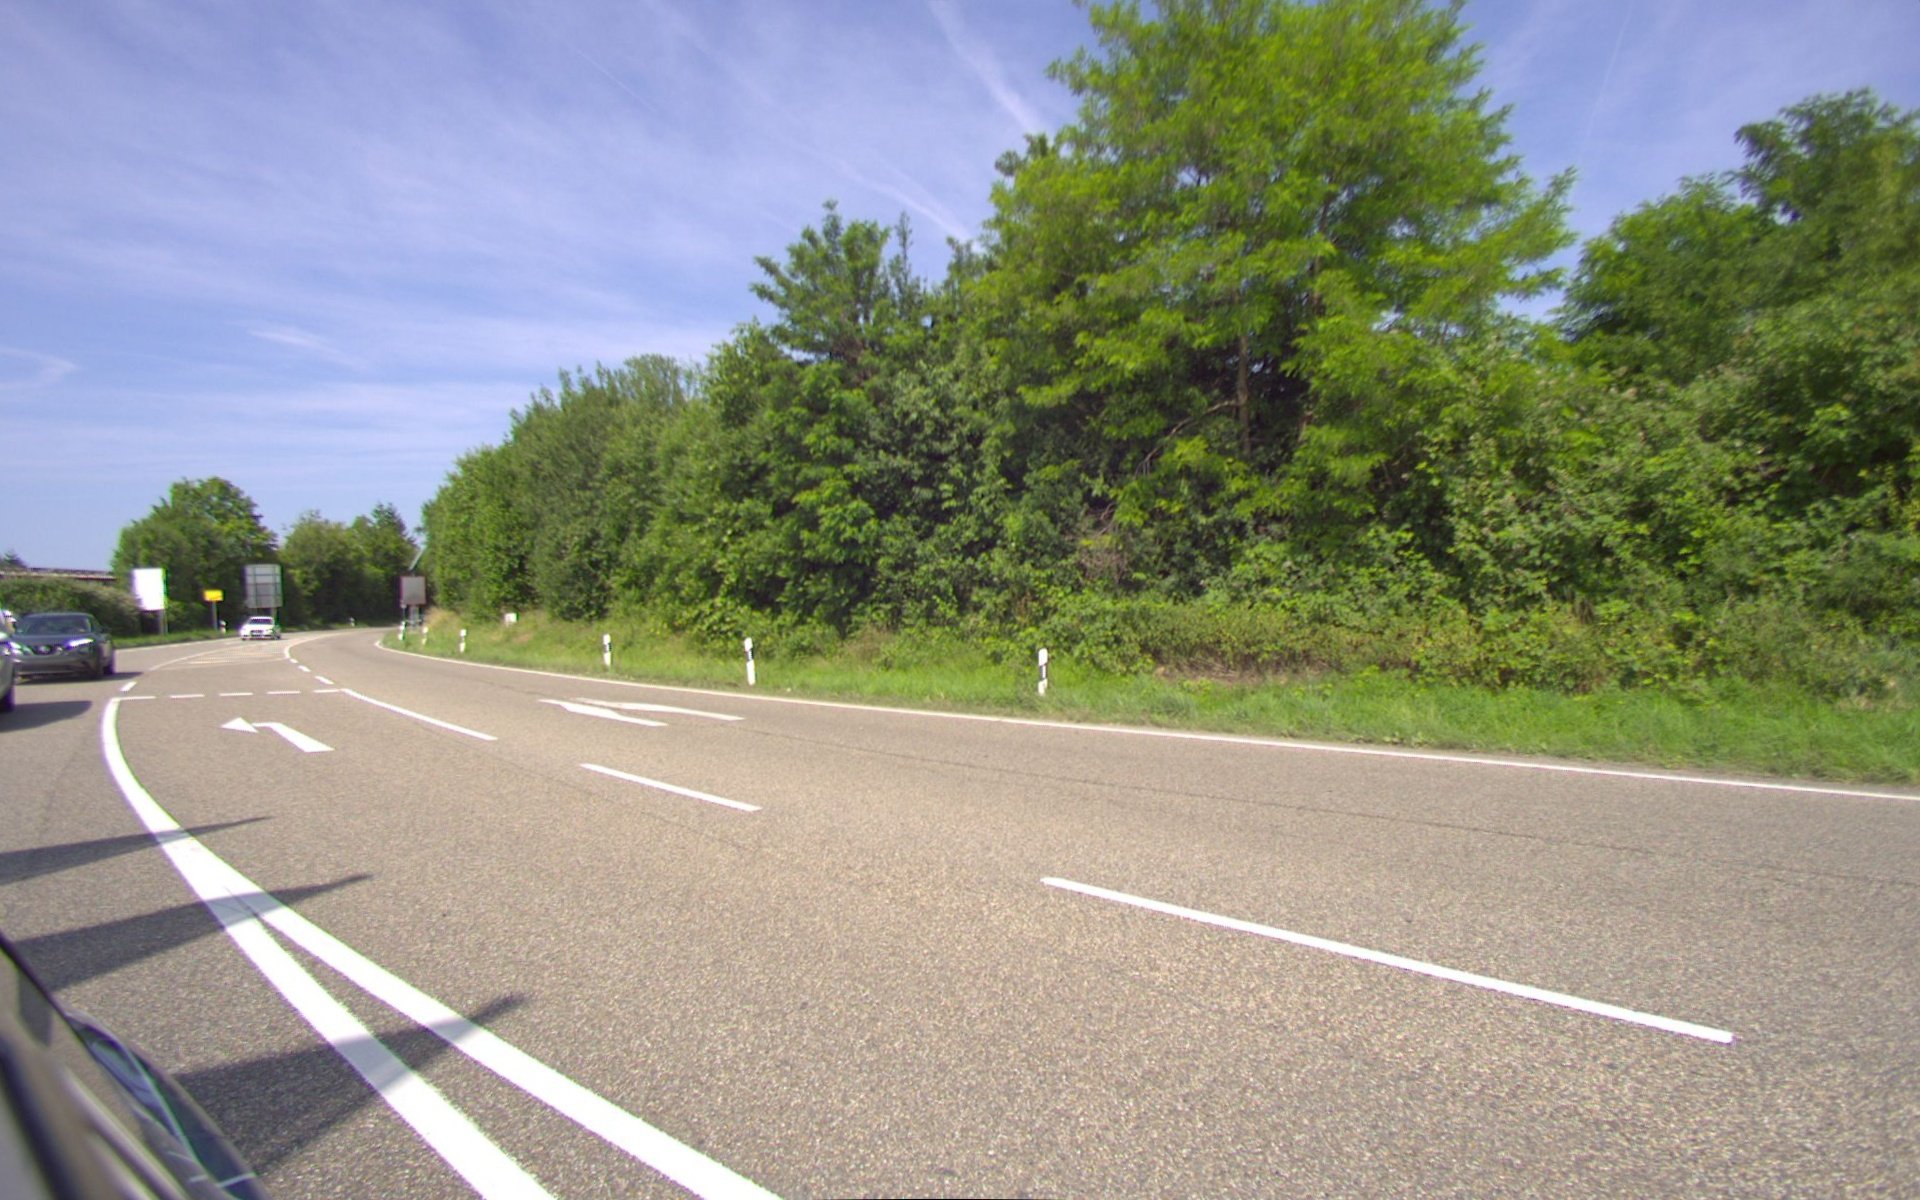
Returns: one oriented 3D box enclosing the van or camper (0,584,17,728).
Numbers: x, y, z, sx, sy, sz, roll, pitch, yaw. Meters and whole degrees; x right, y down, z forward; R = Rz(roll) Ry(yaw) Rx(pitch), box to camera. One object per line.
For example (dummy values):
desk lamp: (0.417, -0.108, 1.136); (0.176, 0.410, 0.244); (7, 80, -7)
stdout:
van or camper: (-14.563, 0.803, 13.954); (1.969, 2.029, 5.299); (-2, 0, -40)

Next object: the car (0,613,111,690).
car: (-20.866, 1.123, 23.426); (1.793, 1.552, 3.733); (-2, 0, -40)

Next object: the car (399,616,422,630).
car: (-67.238, 2.795, 123.838); (1.837, 1.653, 4.013); (-2, 0, -19)

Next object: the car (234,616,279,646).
car: (-43.668, 1.898, 62.867); (1.837, 1.653, 4.435); (-2, 0, -30)
